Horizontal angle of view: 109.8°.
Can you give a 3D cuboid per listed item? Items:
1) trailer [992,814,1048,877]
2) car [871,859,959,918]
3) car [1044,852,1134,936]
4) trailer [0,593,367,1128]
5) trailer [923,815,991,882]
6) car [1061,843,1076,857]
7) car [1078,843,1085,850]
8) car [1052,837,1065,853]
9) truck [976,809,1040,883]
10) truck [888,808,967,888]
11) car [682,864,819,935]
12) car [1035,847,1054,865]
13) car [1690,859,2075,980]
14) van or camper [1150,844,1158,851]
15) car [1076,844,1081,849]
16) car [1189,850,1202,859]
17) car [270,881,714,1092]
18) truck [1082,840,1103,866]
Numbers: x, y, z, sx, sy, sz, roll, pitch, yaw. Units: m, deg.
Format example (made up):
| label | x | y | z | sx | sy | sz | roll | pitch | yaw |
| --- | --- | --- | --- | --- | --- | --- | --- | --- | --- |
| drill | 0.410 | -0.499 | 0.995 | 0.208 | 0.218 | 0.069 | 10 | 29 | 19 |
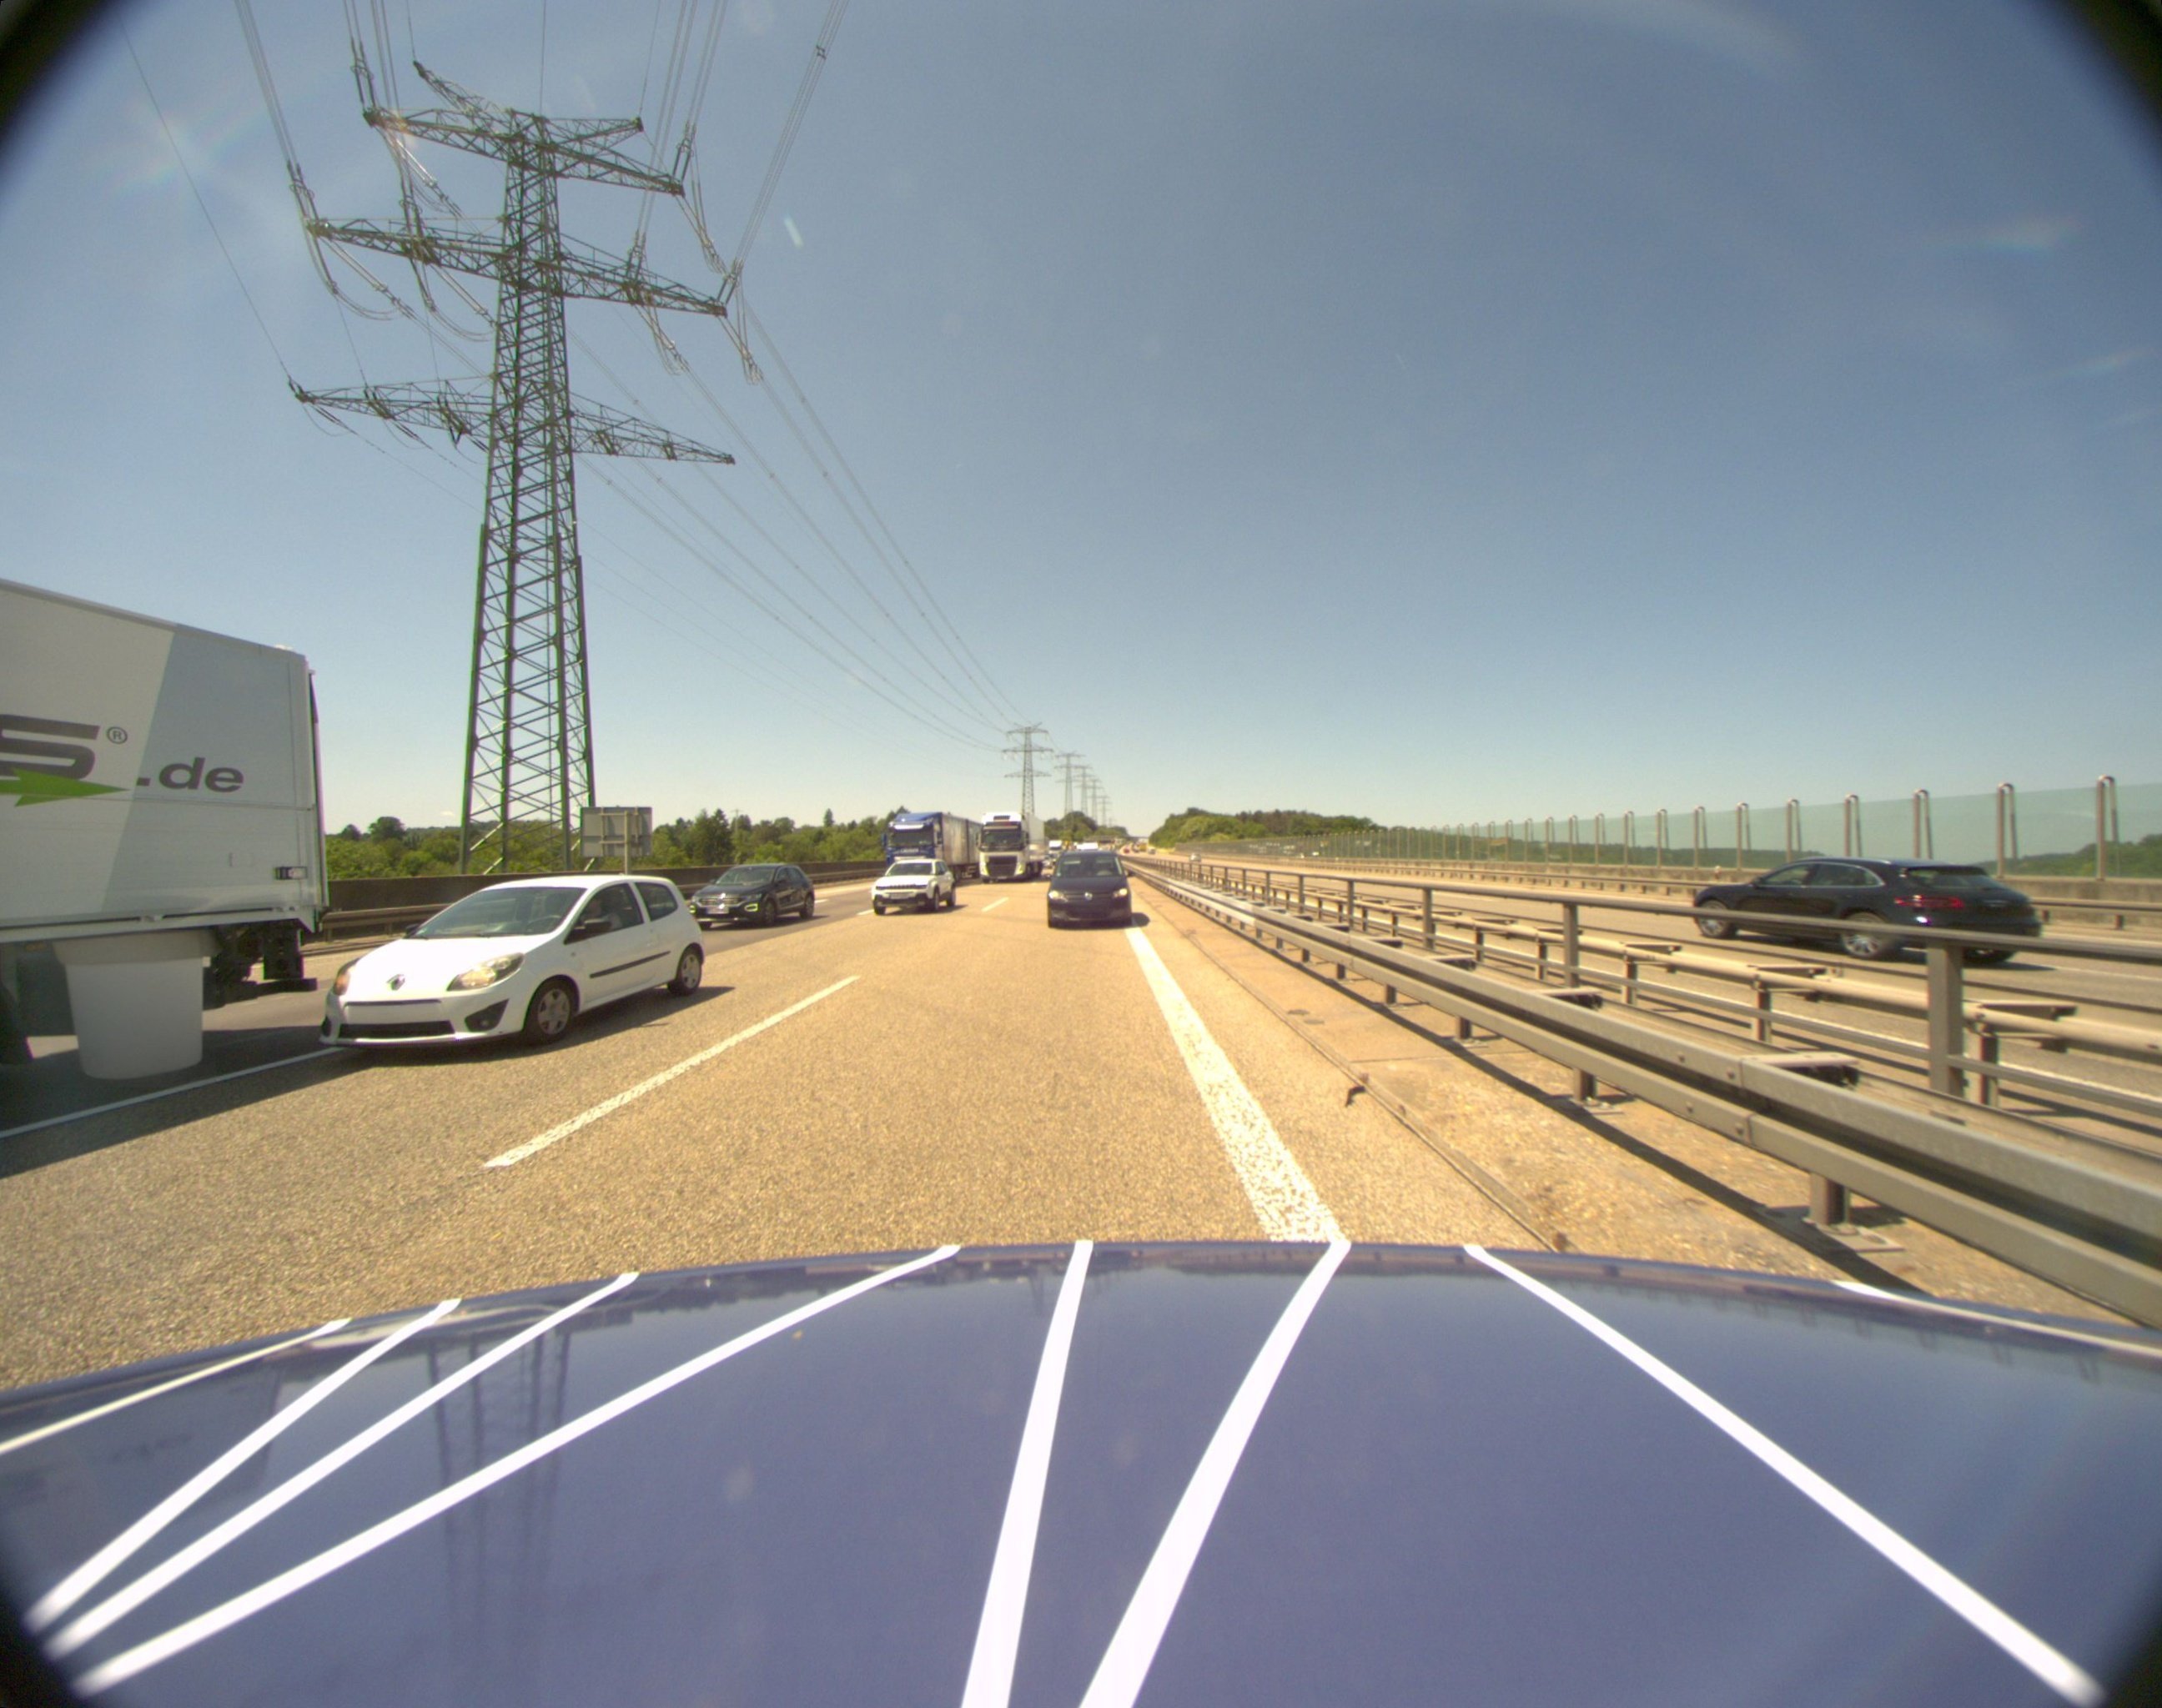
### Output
| label | x | y | z | sx | sy | sz | roll | pitch | yaw |
| --- | --- | --- | --- | --- | --- | --- | --- | --- | --- |
| trailer | -4.038 | -0.622 | 52.593 | 2.898 | 3.847 | 9.773 | -2 | 1 | 0 |
| car | -4.843 | 0.963 | 22.637 | 1.722 | 1.526 | 3.753 | -2 | 0 | 0 |
| car | 0.177 | 0.782 | 17.033 | 1.739 | 1.607 | 3.911 | -2 | 0 | 0 |
| trailer | -8.649 | 0.091 | 3.428 | 2.851 | 3.573 | 8.291 | -2 | 0 | 0 |
| trailer | -8.175 | -0.425 | 51.566 | 2.543 | 3.971 | 10.883 | -2 | 1 | 1 |
| car | -1.874 | -0.603 | 115.606 | 1.998 | 2.002 | 3.999 | -2 | 1 | 1 |
| car | 0.052 | -2.049 | 211.531 | 1.890 | 2.002 | 3.999 | -2 | 1 | 1 |
| car | -4.816 | -2.012 | 162.883 | 2.273 | 3.304 | 6.288 | -2 | 1 | 0 |
| truck | -4.110 | -0.501 | 44.346 | 2.914 | 3.870 | 6.739 | -2 | 1 | 0 |
| truck | -8.302 | -0.301 | 42.143 | 2.517 | 3.945 | 7.927 | -2 | 0 | 1 |
| car | -8.279 | 1.078 | 19.461 | 1.709 | 1.497 | 3.888 | -2 | 0 | 1 |
| car | -3.768 | 0.205 | 79.869 | 1.672 | 1.761 | 3.846 | -2 | 1 | 1 |
| car | 12.833 | 0.922 | 12.696 | 1.784 | 1.560 | 4.386 | 1 | 1 | 1 |
| van or camper | 23.957 | -2.071 | 248.868 | 1.998 | 2.199 | 5.536 | 1 | 1 | 0 |
| car | -0.782 | -2.475 | 246.807 | 1.701 | 1.599 | 3.639 | -2 | 1 | 1 |
| car | 18.514 | 0.071 | 122.840 | 1.608 | 1.386 | 3.676 | 1 | 1 | 1 |
| car | -5.412 | 1.084 | 7.672 | 1.583 | 1.432 | 3.629 | -2 | 0 | 0 |
| truck | 1.268 | -0.113 | 84.355 | 2.100 | 2.700 | 5.864 | -2 | 1 | 1 |
